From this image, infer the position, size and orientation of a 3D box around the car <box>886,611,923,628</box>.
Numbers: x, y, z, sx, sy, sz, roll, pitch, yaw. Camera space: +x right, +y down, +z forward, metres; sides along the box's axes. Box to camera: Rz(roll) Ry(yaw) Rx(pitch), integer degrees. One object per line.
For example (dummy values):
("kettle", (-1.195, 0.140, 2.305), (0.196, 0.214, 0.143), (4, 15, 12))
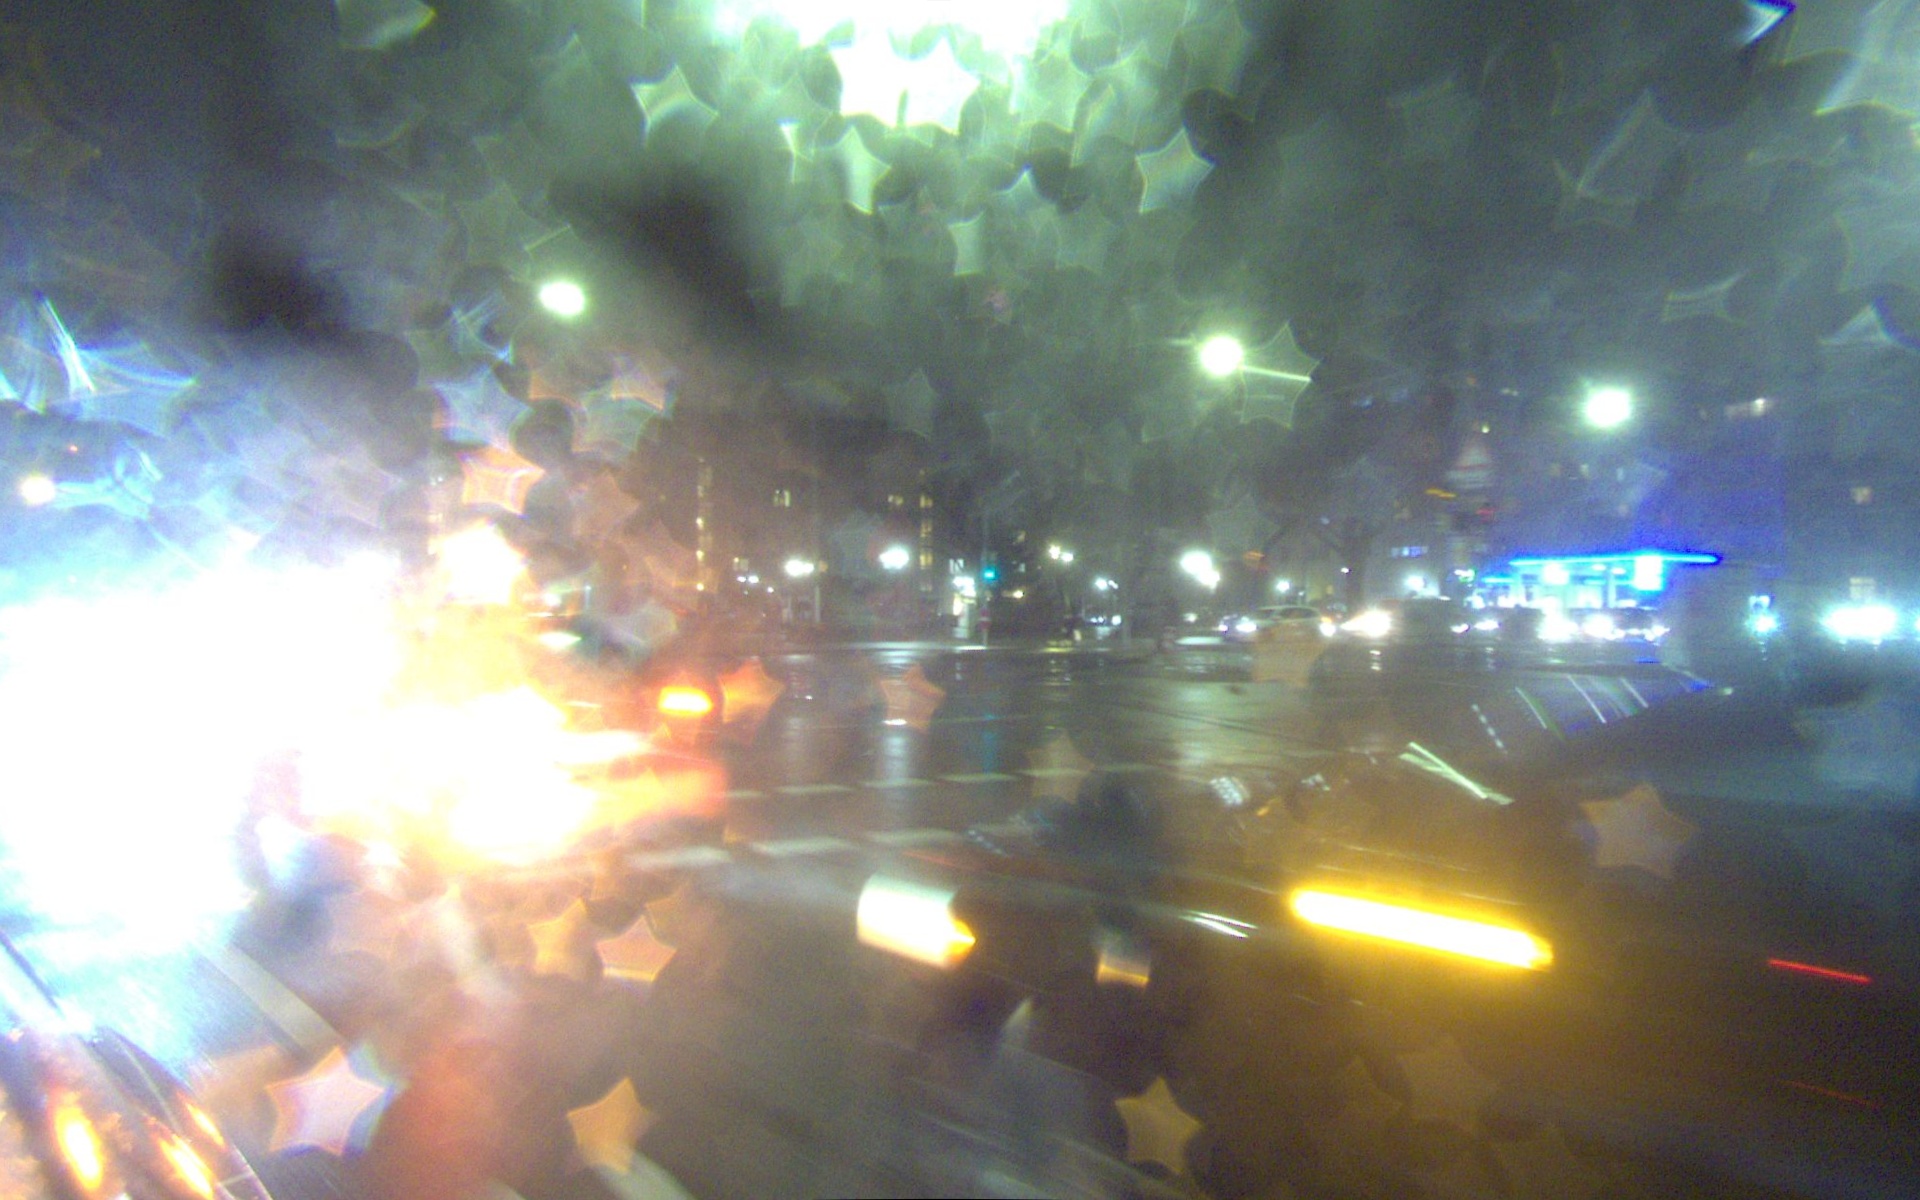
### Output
("car", (-5.113, 1.796, 92.786), (1.838, 1.454, 4.509), (-1, -1, -25))

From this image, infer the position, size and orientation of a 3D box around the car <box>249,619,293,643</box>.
("car", (-43.829, 1.932, 64.438), (1.689, 1.442, 3.932), (-1, -1, -25))

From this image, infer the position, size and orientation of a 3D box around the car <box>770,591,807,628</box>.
("car", (-13.280, 0.719, 78.298), (1.689, 2.752, 4.369), (0, -1, -25))

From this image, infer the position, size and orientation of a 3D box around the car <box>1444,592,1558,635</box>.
("car", (23.195, 0.587, 43.368), (4.657, 1.756, 1.904), (0, -1, -25))

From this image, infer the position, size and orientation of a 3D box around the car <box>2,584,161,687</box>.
("car", (-19.094, 0.769, 21.903), (5.199, 1.968, 2.012), (-2, -2, 43))

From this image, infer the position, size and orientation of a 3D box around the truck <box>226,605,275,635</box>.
("truck", (-51.258, 1.467, 73.205), (2.093, 2.029, 5.279), (0, -1, -26))

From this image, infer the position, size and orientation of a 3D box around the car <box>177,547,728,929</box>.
("car", (-3.273, 0.589, 6.136), (4.006, 1.574, 1.651), (-1, -1, 42))

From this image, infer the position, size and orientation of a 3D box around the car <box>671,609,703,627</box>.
("car", (-23.278, 1.554, 86.286), (1.838, 1.454, 4.509), (-1, -1, -25))

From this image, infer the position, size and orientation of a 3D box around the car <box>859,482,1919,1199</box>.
("car", (1.861, 0.586, 1.461), (4.095, 1.431, 1.651), (-1, -1, 41))

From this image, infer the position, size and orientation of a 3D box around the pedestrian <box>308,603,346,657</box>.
("pedestrian", (-20.821, 0.975, 33.307), (0.758, 1.749, 0.972), (0, -1, -11))

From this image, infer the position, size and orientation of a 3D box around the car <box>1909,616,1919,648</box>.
("car", (56.170, 1.797, 57.180), (4.657, 1.756, 1.904), (0, -1, -22))

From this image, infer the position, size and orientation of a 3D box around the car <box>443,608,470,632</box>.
("car", (-39.246, 1.547, 78.938), (1.838, 1.773, 4.509), (-1, -1, -25))

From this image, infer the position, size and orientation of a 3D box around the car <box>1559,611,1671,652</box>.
("car", (29.770, 1.394, 46.002), (4.657, 1.756, 1.904), (0, -1, -22))

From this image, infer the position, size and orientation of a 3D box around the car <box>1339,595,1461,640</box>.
("car", (17.815, 0.707, 40.941), (4.657, 1.756, 1.904), (0, -1, -25))

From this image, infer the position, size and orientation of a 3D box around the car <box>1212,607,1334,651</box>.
("car", (11.897, 1.080, 38.461), (4.258, 1.581, 1.904), (0, -1, -25))

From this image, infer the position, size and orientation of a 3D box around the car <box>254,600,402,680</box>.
("car", (-13.117, 0.772, 20.913), (4.062, 1.498, 1.743), (-1, -1, 45))

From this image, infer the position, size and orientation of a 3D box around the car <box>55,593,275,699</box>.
("car", (-13.388, 0.694, 16.943), (4.719, 1.554, 1.801), (-1, -1, 37))

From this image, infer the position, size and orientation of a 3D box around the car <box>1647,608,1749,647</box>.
("car", (35.316, 1.298, 48.407), (4.657, 1.756, 1.904), (0, -1, -25))

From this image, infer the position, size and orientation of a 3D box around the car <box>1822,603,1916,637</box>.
("car", (48.851, 1.061, 54.385), (4.657, 1.756, 1.904), (0, -1, -22))
